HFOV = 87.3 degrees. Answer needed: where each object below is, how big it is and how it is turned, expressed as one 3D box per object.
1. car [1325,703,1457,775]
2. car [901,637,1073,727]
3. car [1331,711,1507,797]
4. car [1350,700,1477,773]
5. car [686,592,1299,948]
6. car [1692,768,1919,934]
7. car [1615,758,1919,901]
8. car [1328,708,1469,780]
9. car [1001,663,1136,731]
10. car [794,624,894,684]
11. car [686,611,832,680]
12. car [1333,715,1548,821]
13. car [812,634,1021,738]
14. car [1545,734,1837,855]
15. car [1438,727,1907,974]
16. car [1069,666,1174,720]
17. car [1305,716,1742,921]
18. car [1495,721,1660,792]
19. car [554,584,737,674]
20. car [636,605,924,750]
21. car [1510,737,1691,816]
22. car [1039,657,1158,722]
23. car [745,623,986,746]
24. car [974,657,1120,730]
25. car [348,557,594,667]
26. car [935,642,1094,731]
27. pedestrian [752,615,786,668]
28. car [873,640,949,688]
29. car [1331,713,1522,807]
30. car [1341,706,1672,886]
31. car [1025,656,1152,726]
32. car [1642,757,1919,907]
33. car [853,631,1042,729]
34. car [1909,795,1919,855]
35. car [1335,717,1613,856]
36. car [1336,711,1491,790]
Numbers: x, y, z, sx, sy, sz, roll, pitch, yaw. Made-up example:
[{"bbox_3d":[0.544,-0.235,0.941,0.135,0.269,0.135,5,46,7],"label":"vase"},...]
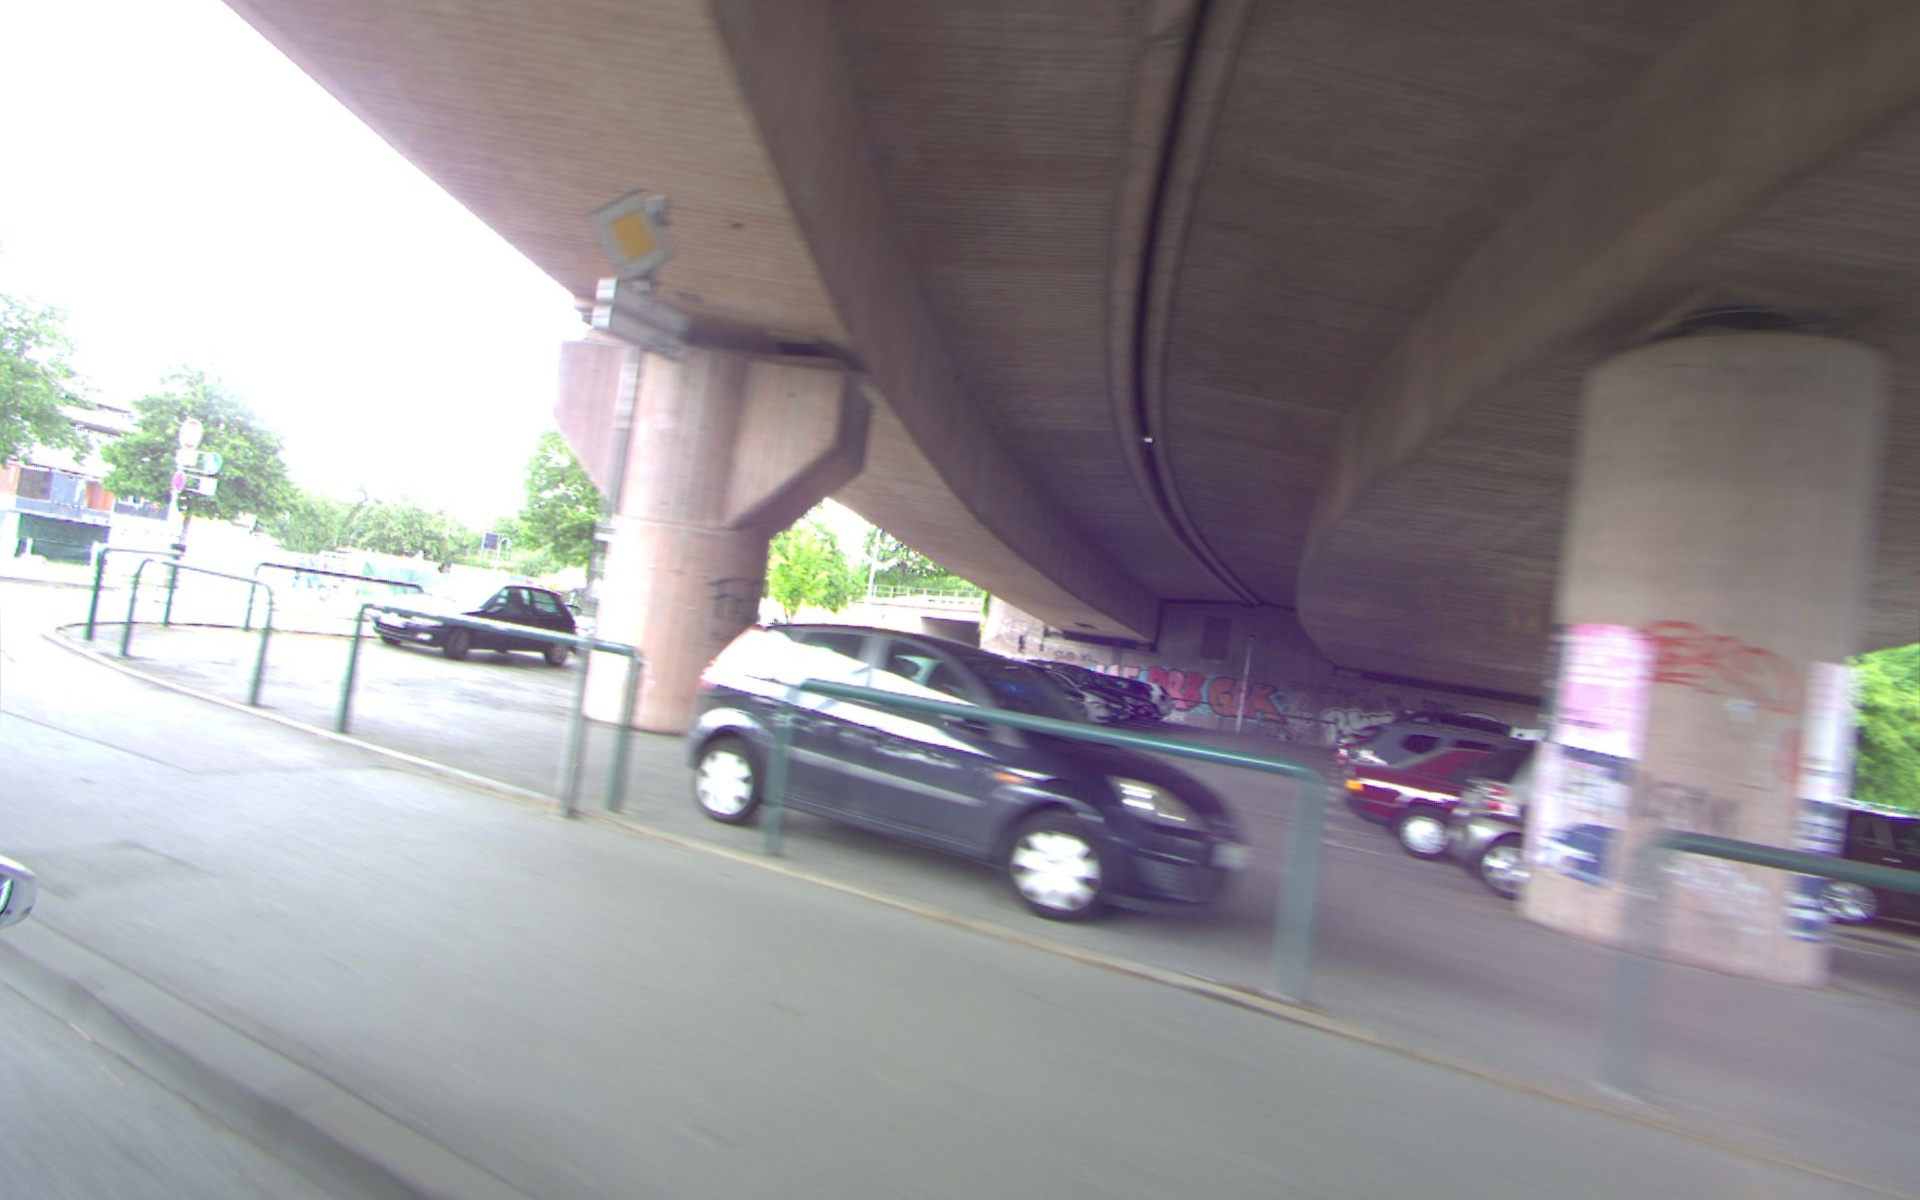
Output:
[{"bbox_3d":[13.616,4.367,31.972,3.595,1.616,1.681,8,-2,21],"label":"car"},{"bbox_3d":[0.703,2.001,24.856,3.789,1.573,1.761,8,-2,15],"label":"car"},{"bbox_3d":[11.509,3.832,25.478,3.791,1.443,1.681,8,-2,21],"label":"car"},{"bbox_3d":[15.270,4.574,34.073,3.595,1.808,1.885,8,-2,21],"label":"car"},{"bbox_3d":[0.147,0.943,6.568,3.520,1.411,1.611,7,-4,32],"label":"car"},{"bbox_3d":[12.209,3.362,12.868,4.114,1.567,1.840,8,-2,21],"label":"car"},{"bbox_3d":[13.900,3.852,17.173,4.114,1.482,1.840,8,-2,21],"label":"car"},{"bbox_3d":[12.912,4.218,29.855,3.595,1.443,1.681,8,-2,21],"label":"car"},{"bbox_3d":[3.383,2.975,31.069,3.789,1.454,1.761,8,-2,15],"label":"car"},{"bbox_3d":[-3.689,1.807,32.657,1.586,1.552,4.076,8,-3,17],"label":"car"},{"bbox_3d":[-5.287,1.286,27.107,1.739,1.336,4.381,8,-3,19],"label":"car"},{"bbox_3d":[9.964,3.455,21.187,3.791,1.443,1.840,8,-2,21],"label":"car"},{"bbox_3d":[-0.859,1.742,20.647,3.789,1.459,1.701,8,-2,15],"label":"car"},{"bbox_3d":[16.907,4.458,23.647,5.012,1.696,2.093,8,-2,21],"label":"car"},{"bbox_3d":[6.640,2.287,9.795,3.312,1.515,1.534,8,-4,21],"label":"car"},{"bbox_3d":[6.376,3.658,39.588,3.789,1.495,1.761,8,-2,15],"label":"car"},{"bbox_3d":[6.728,2.559,12.516,4.302,1.485,1.840,7,-4,26],"label":"car"},{"bbox_3d":[19.743,4.977,32.388,4.114,1.482,1.840,8,-2,21],"label":"car"},{"bbox_3d":[-6.832,0.723,22.385,1.482,1.435,4.255,9,-3,19],"label":"car"},{"bbox_3d":[-2.772,1.171,15.620,3.936,1.569,1.641,7,-2,18],"label":"car"},{"bbox_3d":[18.935,5.202,29.985,4.114,1.482,1.840,8,-2,21],"label":"car"},{"bbox_3d":[4.901,3.135,35.364,3.789,1.656,1.761,8,-2,15],"label":"car"},{"bbox_3d":[-1.648,1.488,18.033,3.789,1.526,1.701,8,-2,15],"label":"car"},{"bbox_3d":[2.533,2.660,28.861,3.789,1.450,1.761,8,-2,15],"label":"car"},{"bbox_3d":[-8.369,0.282,17.577,1.482,1.344,3.705,10,-3,21],"label":"car"},{"bbox_3d":[1.481,2.290,26.850,3.789,1.713,1.761,8,-2,15],"label":"car"},{"bbox_3d":[-7.440,1.638,39.220,0.723,1.928,0.826,7,-2,18],"label":"pedestrian"},{"bbox_3d":[-1.836,2.494,38.600,1.550,1.455,3.382,8,-3,20],"label":"car"},{"bbox_3d":[10.820,3.691,23.660,3.791,1.443,1.840,8,-2,21],"label":"car"},{"bbox_3d":[7.620,2.680,14.484,3.791,1.717,1.840,8,-2,21],"label":"car"},{"bbox_3d":[4.279,2.982,33.261,3.789,1.656,1.761,8,-2,15],"label":"car"},{"bbox_3d":[12.952,3.488,15.024,4.114,1.482,1.840,8,-2,21],"label":"car"},{"bbox_3d":[-0.258,1.790,22.732,3.789,1.573,1.701,8,-2,15],"label":"car"},{"bbox_3d":[29.449,6.707,27.823,4.114,1.707,1.840,8,-2,21],"label":"car"},{"bbox_3d":[8.337,2.994,16.730,3.791,1.443,1.840,8,-2,21],"label":"car"},{"bbox_3d":[12.245,4.031,27.381,3.595,1.443,1.681,8,-2,21],"label":"car"}]
